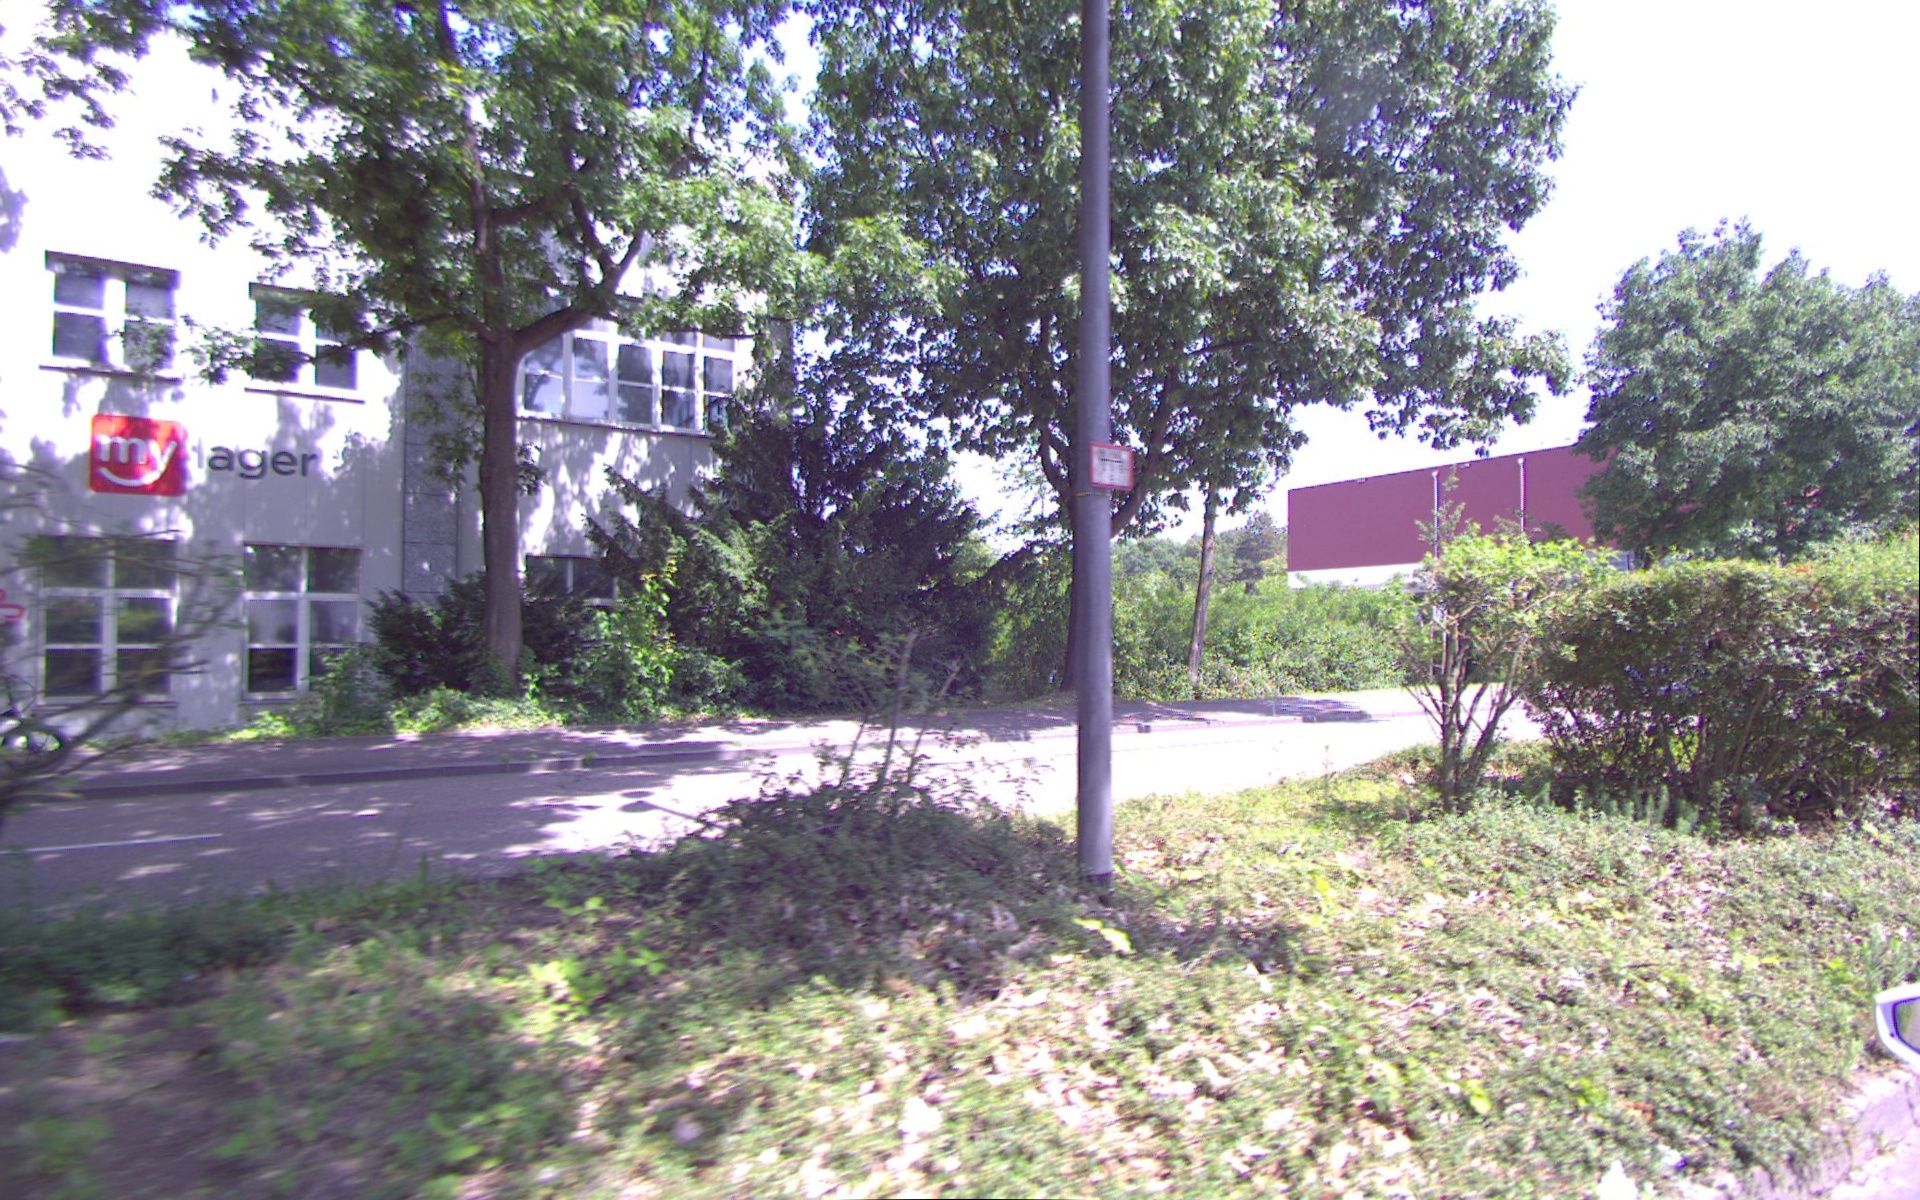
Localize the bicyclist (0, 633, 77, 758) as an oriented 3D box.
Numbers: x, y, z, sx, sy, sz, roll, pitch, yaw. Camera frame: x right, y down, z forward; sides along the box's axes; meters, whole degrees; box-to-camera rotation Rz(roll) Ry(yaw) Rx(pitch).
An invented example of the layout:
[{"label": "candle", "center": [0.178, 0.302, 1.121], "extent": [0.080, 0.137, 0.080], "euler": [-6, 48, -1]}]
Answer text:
[{"label": "bicyclist", "center": [-9.976, 0.995, 10.633], "extent": [0.803, 1.269, 0.641], "euler": [2, -1, -31]}]

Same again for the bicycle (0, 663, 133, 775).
[{"label": "bicycle", "center": [-9.942, 1.242, 10.634], "extent": [1.741, 1.134, 0.518], "euler": [2, -1, -31]}]
